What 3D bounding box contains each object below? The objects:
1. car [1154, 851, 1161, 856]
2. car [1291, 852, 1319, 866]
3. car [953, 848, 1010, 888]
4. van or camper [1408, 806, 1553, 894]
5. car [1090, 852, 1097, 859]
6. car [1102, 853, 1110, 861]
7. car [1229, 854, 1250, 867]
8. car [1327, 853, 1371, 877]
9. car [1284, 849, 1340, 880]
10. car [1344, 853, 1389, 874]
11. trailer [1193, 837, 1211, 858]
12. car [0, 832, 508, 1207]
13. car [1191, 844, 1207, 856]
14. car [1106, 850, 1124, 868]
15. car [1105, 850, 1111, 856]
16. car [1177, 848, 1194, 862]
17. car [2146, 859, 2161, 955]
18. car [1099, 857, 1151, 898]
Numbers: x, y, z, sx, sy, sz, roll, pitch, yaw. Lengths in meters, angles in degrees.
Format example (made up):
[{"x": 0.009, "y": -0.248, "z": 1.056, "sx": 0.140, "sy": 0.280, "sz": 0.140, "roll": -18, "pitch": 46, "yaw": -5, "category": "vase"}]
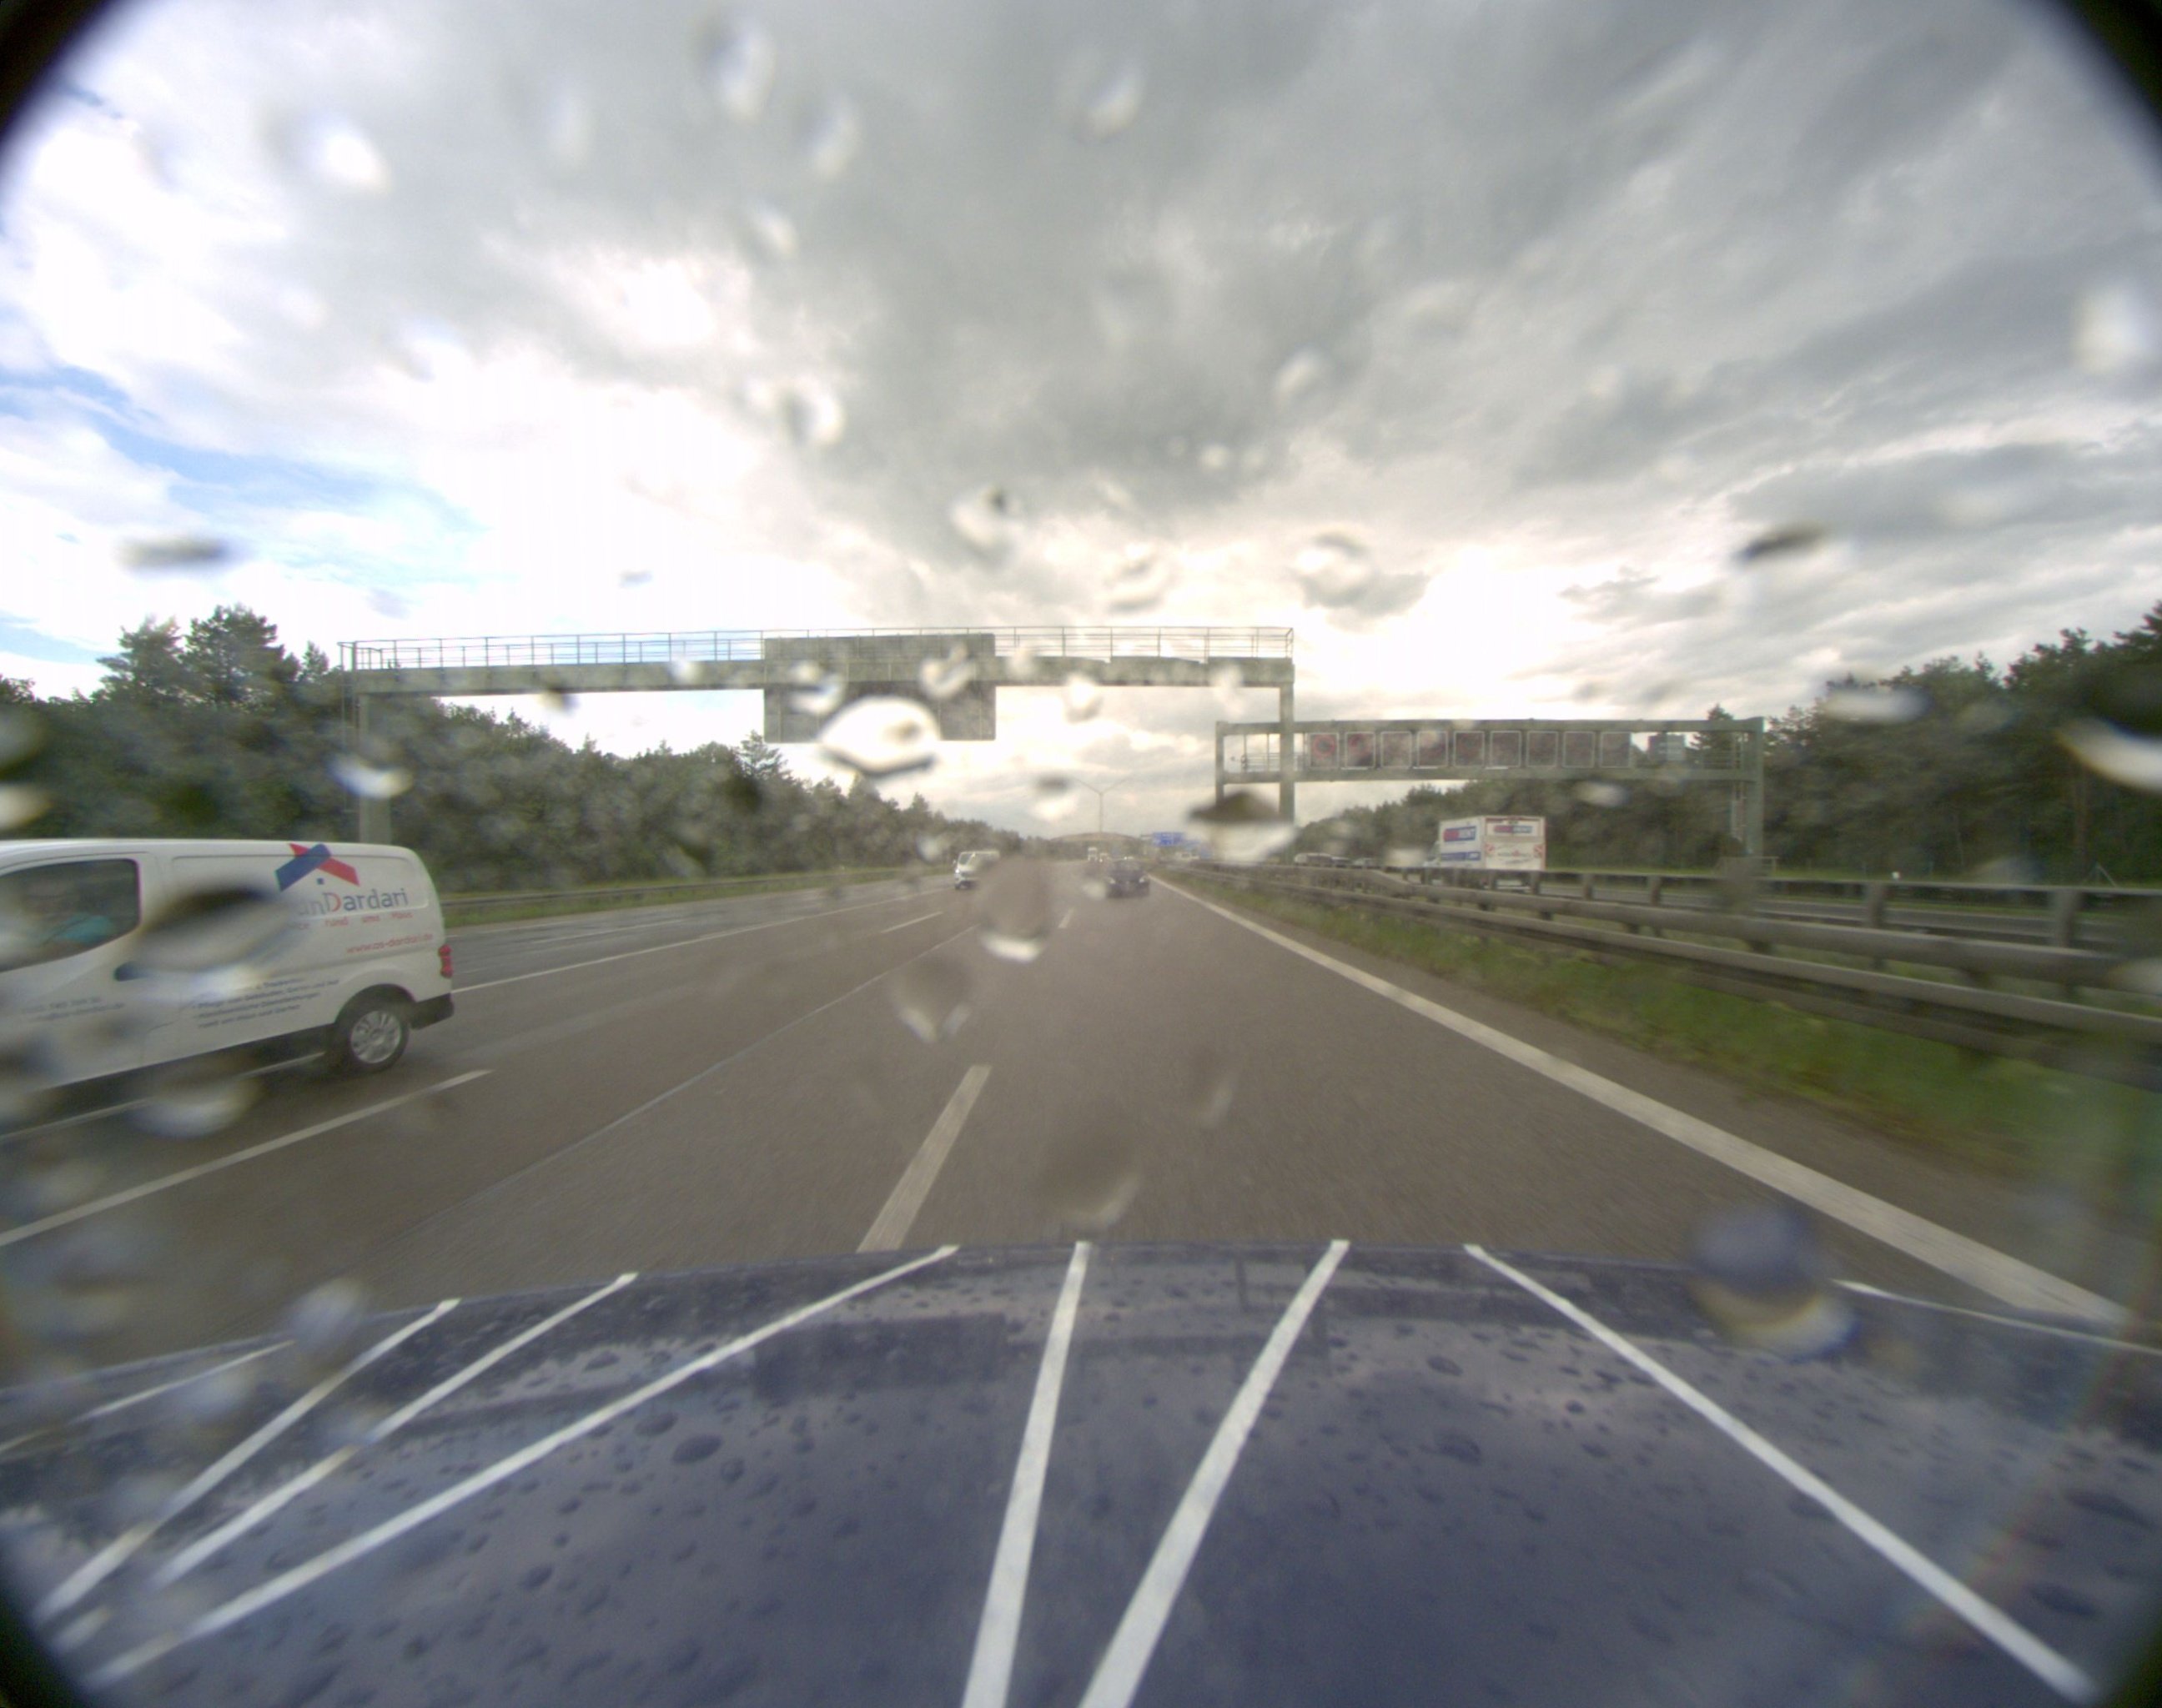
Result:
[{"x": 25.404, "y": -0.268, "z": 252.219, "sx": 1.864, "sy": 1.652, "sz": 4.472, "roll": 1, "pitch": 0, "yaw": 1, "category": "car"}, {"x": 21.297, "y": 0.447, "z": 72.320, "sx": 1.629, "sy": 1.250, "sz": 3.841, "roll": -1, "pitch": 0, "yaw": 1, "category": "car"}, {"x": -5.350, "y": 0.718, "z": 41.654, "sx": 1.998, "sy": 2.002, "sz": 5.484, "roll": -2, "pitch": 0, "yaw": 4, "category": "car"}, {"x": 15.748, "y": -0.142, "z": 30.649, "sx": 2.306, "sy": 3.094, "sz": 7.544, "roll": 0, "pitch": 0, "yaw": 3, "category": "van or camper"}, {"x": 3.483, "y": 0.380, "z": 213.494, "sx": 1.998, "sy": 2.002, "sz": 4.000, "roll": -1, "pitch": 0, "yaw": 1, "category": "car"}, {"x": 6.423, "y": 0.817, "z": 197.041, "sx": 1.998, "sy": 2.002, "sz": 4.000, "roll": -1, "pitch": 0, "yaw": 1, "category": "car"}, {"x": 18.949, "y": 0.735, "z": 90.938, "sx": 1.676, "sy": 1.451, "sz": 4.562, "roll": -1, "pitch": 0, "yaw": 2, "category": "car"}, {"x": 16.289, "y": 0.670, "z": 46.324, "sx": 1.498, "sy": 1.368, "sz": 3.704, "roll": -1, "pitch": 0, "yaw": 2, "category": "car"}, {"x": 11.904, "y": 0.524, "z": 39.373, "sx": 1.698, "sy": 1.506, "sz": 4.000, "roll": -1, "pitch": 0, "yaw": 1, "category": "car"}, {"x": 20.133, "y": 0.631, "z": 53.783, "sx": 1.748, "sy": 1.368, "sz": 4.000, "roll": -1, "pitch": 0, "yaw": 1, "category": "car"}, {"x": 25.947, "y": -1.423, "z": 163.185, "sx": 2.102, "sy": 4.216, "sz": 14.627, "roll": -3, "pitch": 0, "yaw": 3, "category": "trailer"}, {"x": -6.437, "y": 0.857, "z": 4.667, "sx": 1.968, "sy": 1.891, "sz": 4.881, "roll": -2, "pitch": 0, "yaw": 2, "category": "car"}, {"x": 21.844, "y": -0.782, "z": 140.824, "sx": 2.288, "sy": 2.002, "sz": 6.740, "roll": -3, "pitch": 0, "yaw": 4, "category": "car"}, {"x": 4.008, "y": 0.623, "z": 89.940, "sx": 1.998, "sy": 2.002, "sz": 4.001, "roll": -2, "pitch": 0, "yaw": 3, "category": "car"}, {"x": 9.007, "y": -0.459, "z": 254.890, "sx": 1.998, "sy": 2.002, "sz": 4.000, "roll": -1, "pitch": 0, "yaw": 1, "category": "car"}, {"x": 15.038, "y": 0.158, "z": 109.307, "sx": 1.902, "sy": 1.857, "sz": 4.898, "roll": 0, "pitch": 0, "yaw": 1, "category": "car"}, {"x": 18.677, "y": 0.876, "z": 10.637, "sx": 1.727, "sy": 1.587, "sz": 4.155, "roll": -1, "pitch": 0, "yaw": 1, "category": "car"}, {"x": 1.733, "y": 0.826, "z": 29.108, "sx": 1.809, "sy": 1.321, "sz": 4.432, "roll": -2, "pitch": 1, "yaw": 4, "category": "car"}]
